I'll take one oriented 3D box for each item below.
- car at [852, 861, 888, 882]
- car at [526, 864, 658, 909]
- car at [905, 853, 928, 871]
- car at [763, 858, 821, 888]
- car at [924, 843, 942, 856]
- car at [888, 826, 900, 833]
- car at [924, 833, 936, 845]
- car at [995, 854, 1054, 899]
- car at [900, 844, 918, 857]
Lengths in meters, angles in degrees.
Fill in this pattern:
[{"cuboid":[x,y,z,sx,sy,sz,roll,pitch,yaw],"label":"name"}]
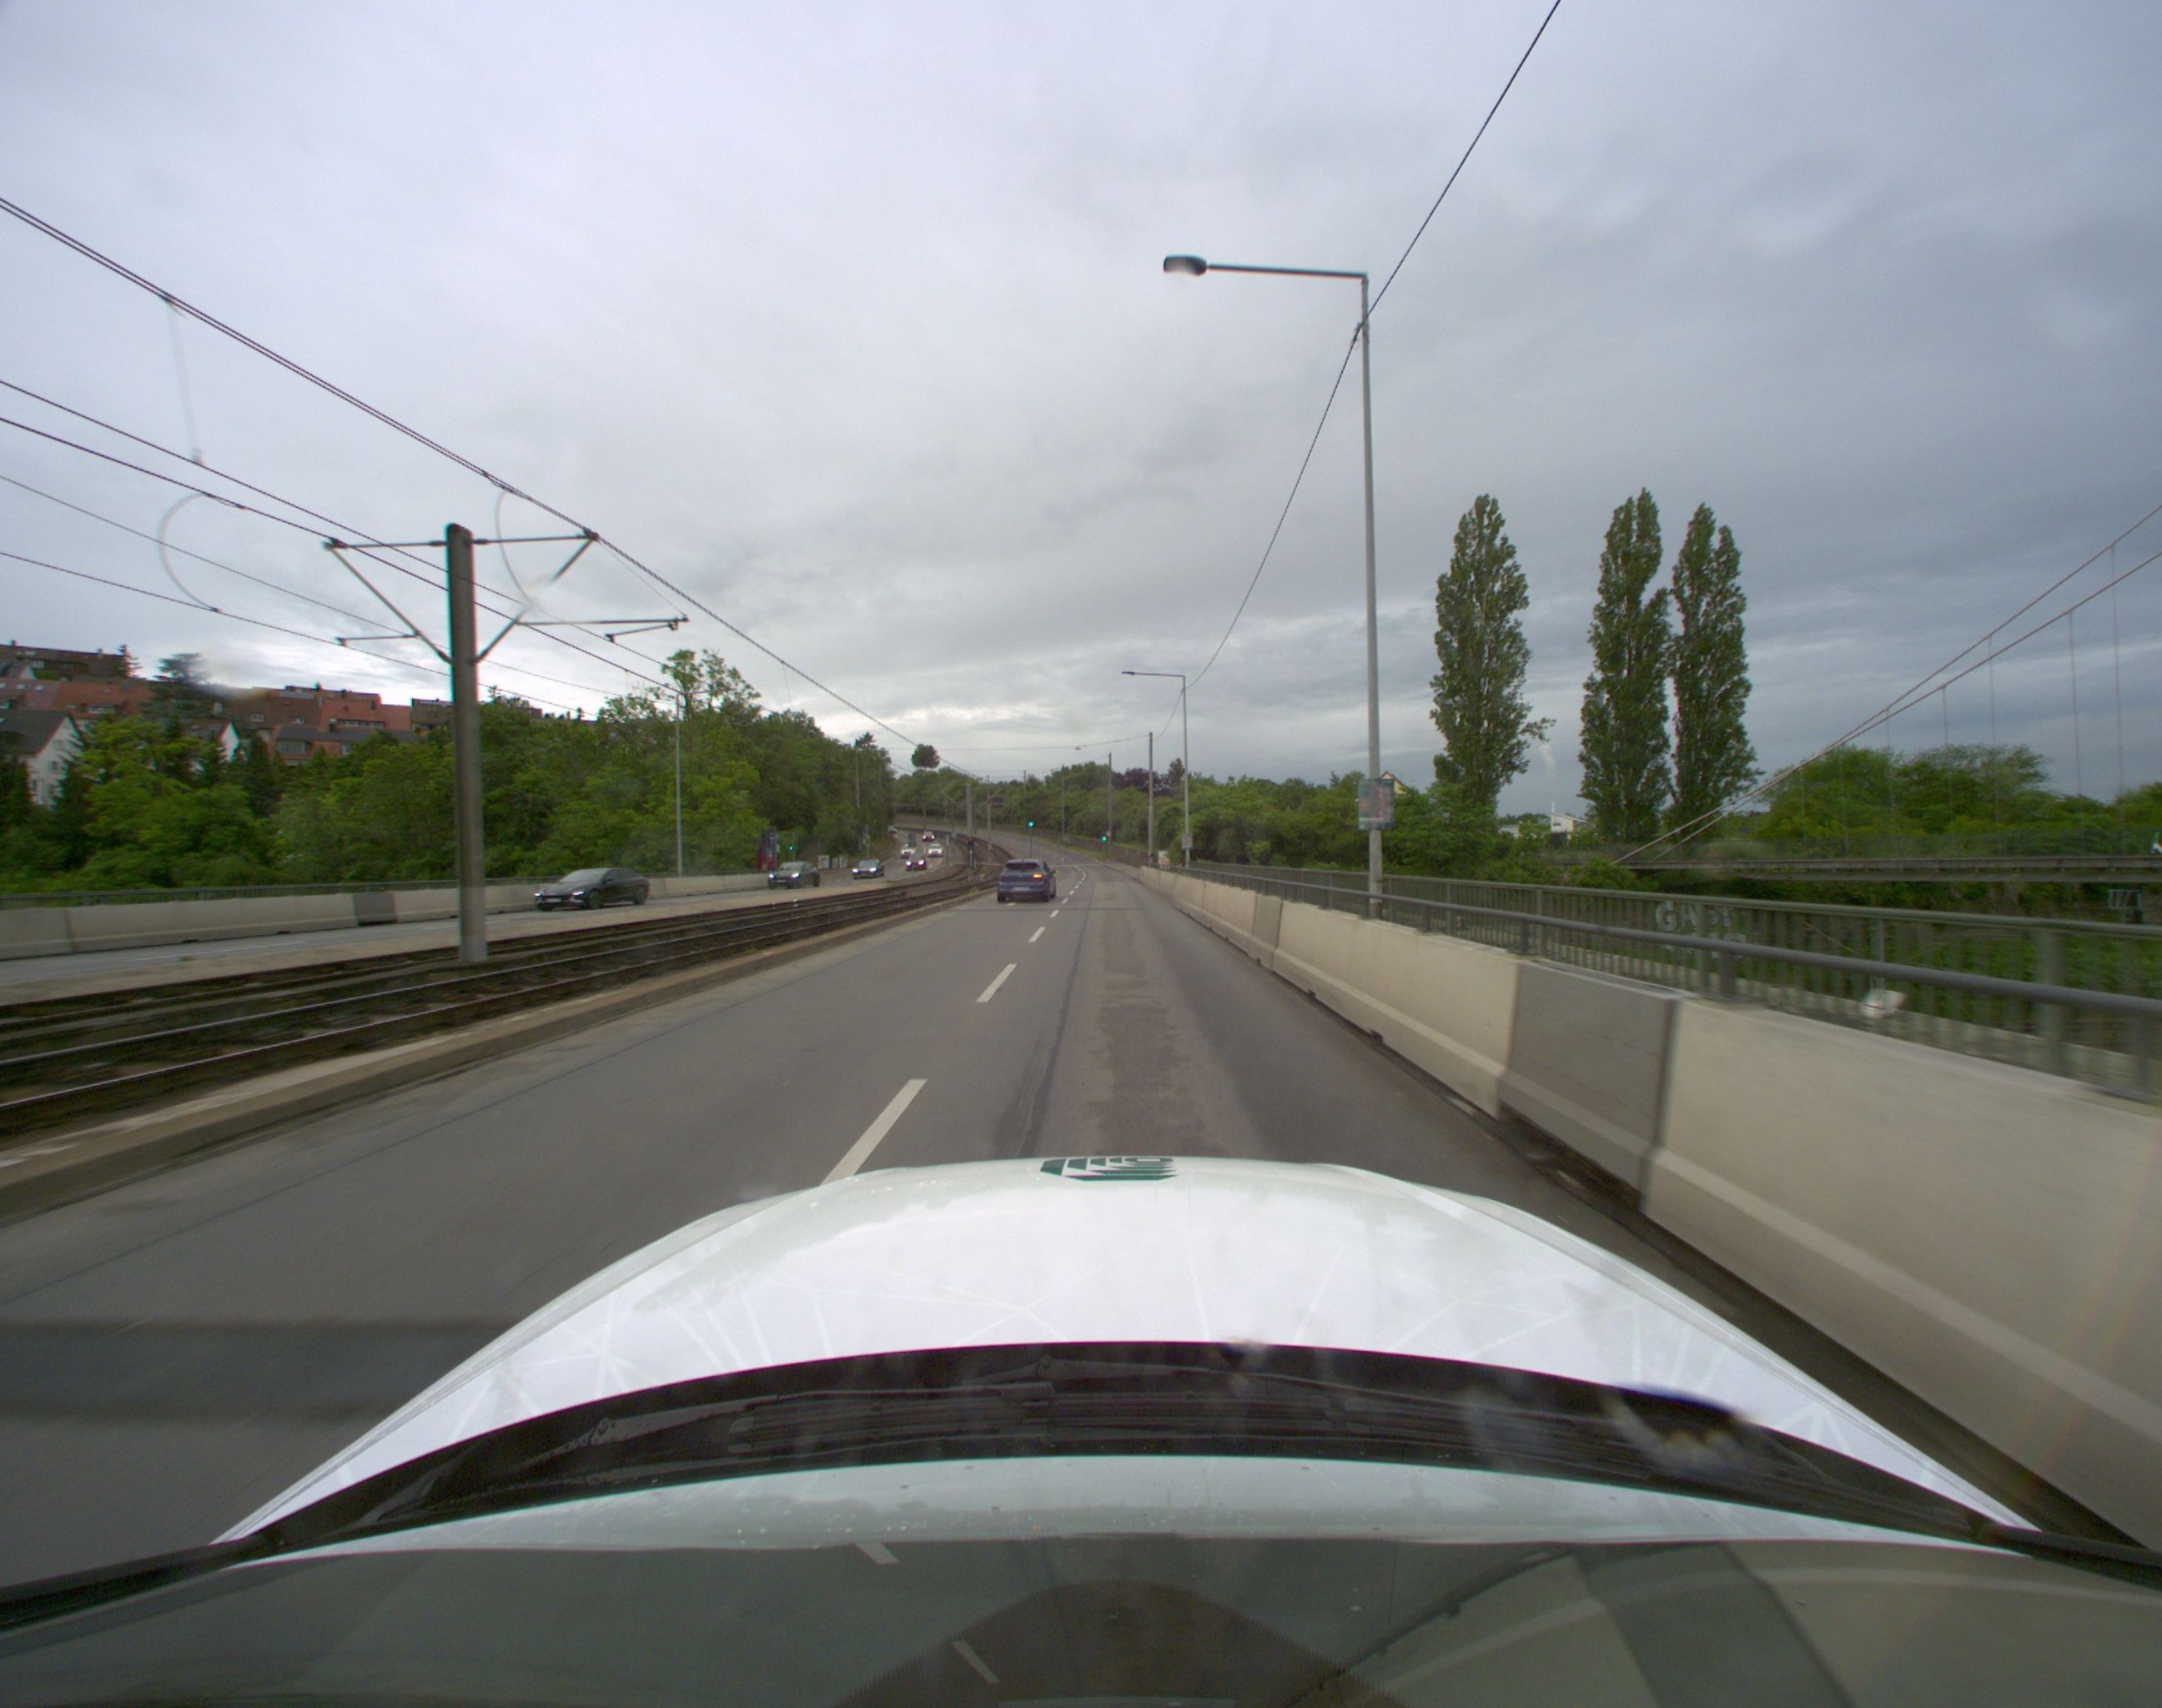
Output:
[{"cuboid":[-17.612,1.492,68.267,1.966,1.597,5.175,-2,-1,-5],"label":"car"},{"cuboid":[-17.682,1.114,29.789,1.809,1.436,4.743,-1,0,2],"label":"car"},{"cuboid":[-15.598,0.744,77.425,1.596,1.493,3.015,-2,1,-2],"label":"car"},{"cuboid":[-17.201,1.113,48.769,1.892,1.597,4.727,-2,0,-3],"label":"car"},{"cuboid":[-18.054,-0.533,99.089,1.733,1.437,4.467,-2,-1,-16],"label":"car"},{"cuboid":[-38.963,-5.054,169.612,1.722,1.458,4.246,-3,3,-21],"label":"car"},{"cuboid":[-25.483,-2.585,137.099,1.849,1.596,4.715,-2,7,-12],"label":"car"},{"cuboid":[-1.921,0.765,28.862,1.757,1.501,4.000,0,-1,1],"label":"car"},{"cuboid":[-21.053,-0.399,99.775,1.820,1.515,4.516,-1,-1,-8],"label":"car"}]
